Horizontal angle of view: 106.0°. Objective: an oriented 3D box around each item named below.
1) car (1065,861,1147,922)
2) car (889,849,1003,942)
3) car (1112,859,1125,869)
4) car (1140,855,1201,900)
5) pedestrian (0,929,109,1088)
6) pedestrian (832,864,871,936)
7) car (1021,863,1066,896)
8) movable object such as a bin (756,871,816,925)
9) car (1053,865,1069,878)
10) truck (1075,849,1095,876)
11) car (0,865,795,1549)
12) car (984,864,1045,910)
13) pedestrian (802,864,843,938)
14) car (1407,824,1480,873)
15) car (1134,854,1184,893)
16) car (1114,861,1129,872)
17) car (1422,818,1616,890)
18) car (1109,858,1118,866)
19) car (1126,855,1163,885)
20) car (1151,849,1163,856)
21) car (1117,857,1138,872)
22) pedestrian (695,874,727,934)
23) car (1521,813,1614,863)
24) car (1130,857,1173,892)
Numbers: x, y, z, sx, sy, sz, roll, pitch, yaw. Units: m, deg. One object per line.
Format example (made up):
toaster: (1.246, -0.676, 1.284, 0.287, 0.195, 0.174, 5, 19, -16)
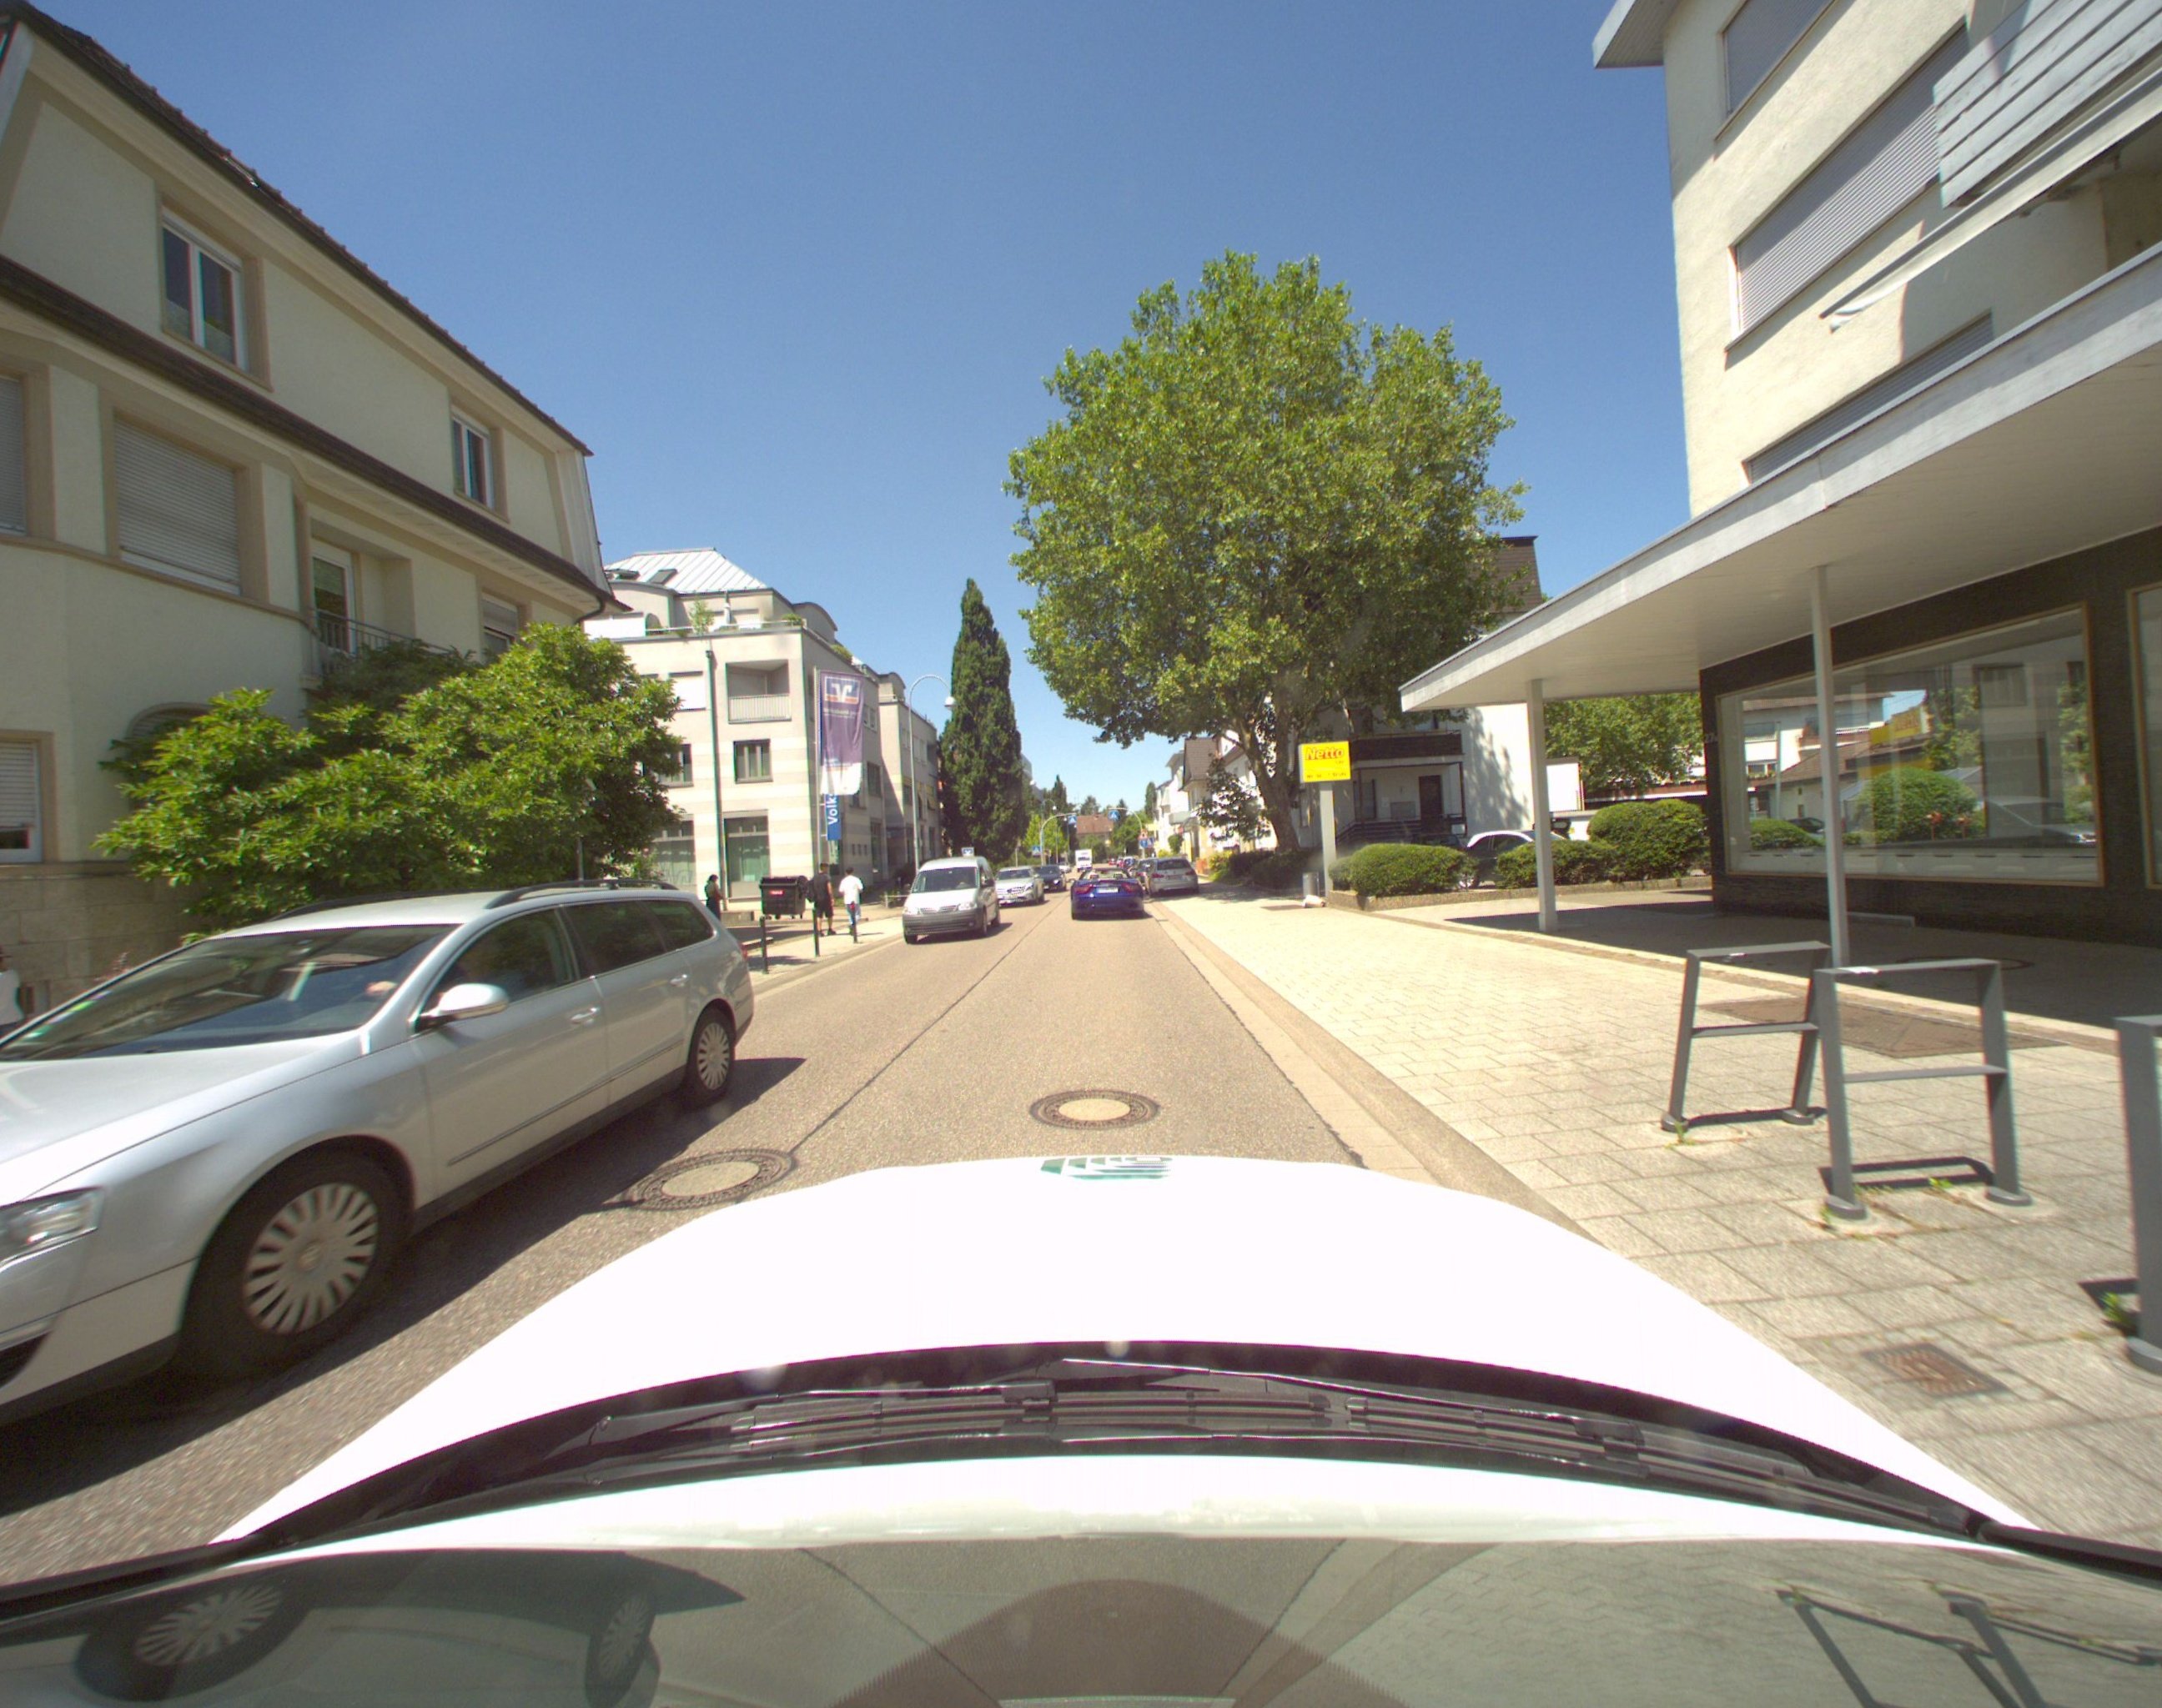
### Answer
car: (0.640, 0.947, 22.454, 1.970, 1.398, 4.626, -3, 0, 0)
car: (-2.961, 0.850, 18.749, 1.764, 1.767, 4.137, -5, 0, 0)
car: (6.091, 1.696, 134.001, 1.944, 1.476, 4.138, -5, -1, 1)
car: (3.439, 0.863, 32.020, 1.969, 1.450, 4.351, -5, 0, 2)
pedestrian: (-10.130, 1.474, 7.830, 0.596, 1.371, 0.692, -5, 1, -10)
pedestrian: (-5.575, 1.108, 19.802, 0.629, 1.691, 0.962, -2, -3, 1)
car: (-1.895, 1.297, 42.429, 1.944, 1.476, 4.138, -5, -1, 1)
movable object such as a bin: (-9.412, 1.387, 26.063, 1.353, 1.494, 1.296, -5, 1, -2)
car: (-2.617, 2.367, 109.505, 1.945, 1.476, 4.136, -5, -1, 0)
truck: (0.571, 1.193, 112.093, 2.413, 3.482, 7.001, -5, -1, 0)
car: (-3.376, 0.888, 4.154, 1.942, 1.508, 4.798, -4, -1, 1)
car: (-2.451, 1.208, 31.027, 1.763, 1.476, 4.138, -5, -1, 1)
pedestrian: (-6.379, 1.148, 20.044, 0.889, 1.749, 0.812, -1, -3, -22)
car: (12.790, -0.206, 28.966, 1.829, 1.453, 4.019, -6, -1, 18)
car: (3.675, 0.858, 38.910, 1.969, 1.556, 4.351, -5, 0, 2)
car: (5.761, 1.785, 117.220, 1.944, 1.476, 4.138, -5, -1, 1)
car: (11.088, 0.051, 20.934, 1.854, 1.453, 3.965, -5, -1, -26)
car: (6.778, 1.689, 172.315, 1.763, 1.476, 4.138, -3, -1, 1)
car: (3.861, 0.940, 50.441, 1.969, 1.556, 4.351, -5, 0, 2)
car: (20.293, -0.435, 217.934, 1.933, 1.476, 4.160, -5, -1, 22)
car: (5.051, 1.113, 88.965, 1.944, 1.476, 4.138, -5, -1, 1)
pedestrian: (-10.306, 1.397, 22.708, 0.679, 1.623, 0.712, -1, -3, -14)
car: (16.918, -0.542, 28.533, 1.829, 1.453, 4.019, -6, -1, 18)
car: (3.798, 1.077, 44.263, 1.969, 1.556, 4.351, -5, 0, 2)
